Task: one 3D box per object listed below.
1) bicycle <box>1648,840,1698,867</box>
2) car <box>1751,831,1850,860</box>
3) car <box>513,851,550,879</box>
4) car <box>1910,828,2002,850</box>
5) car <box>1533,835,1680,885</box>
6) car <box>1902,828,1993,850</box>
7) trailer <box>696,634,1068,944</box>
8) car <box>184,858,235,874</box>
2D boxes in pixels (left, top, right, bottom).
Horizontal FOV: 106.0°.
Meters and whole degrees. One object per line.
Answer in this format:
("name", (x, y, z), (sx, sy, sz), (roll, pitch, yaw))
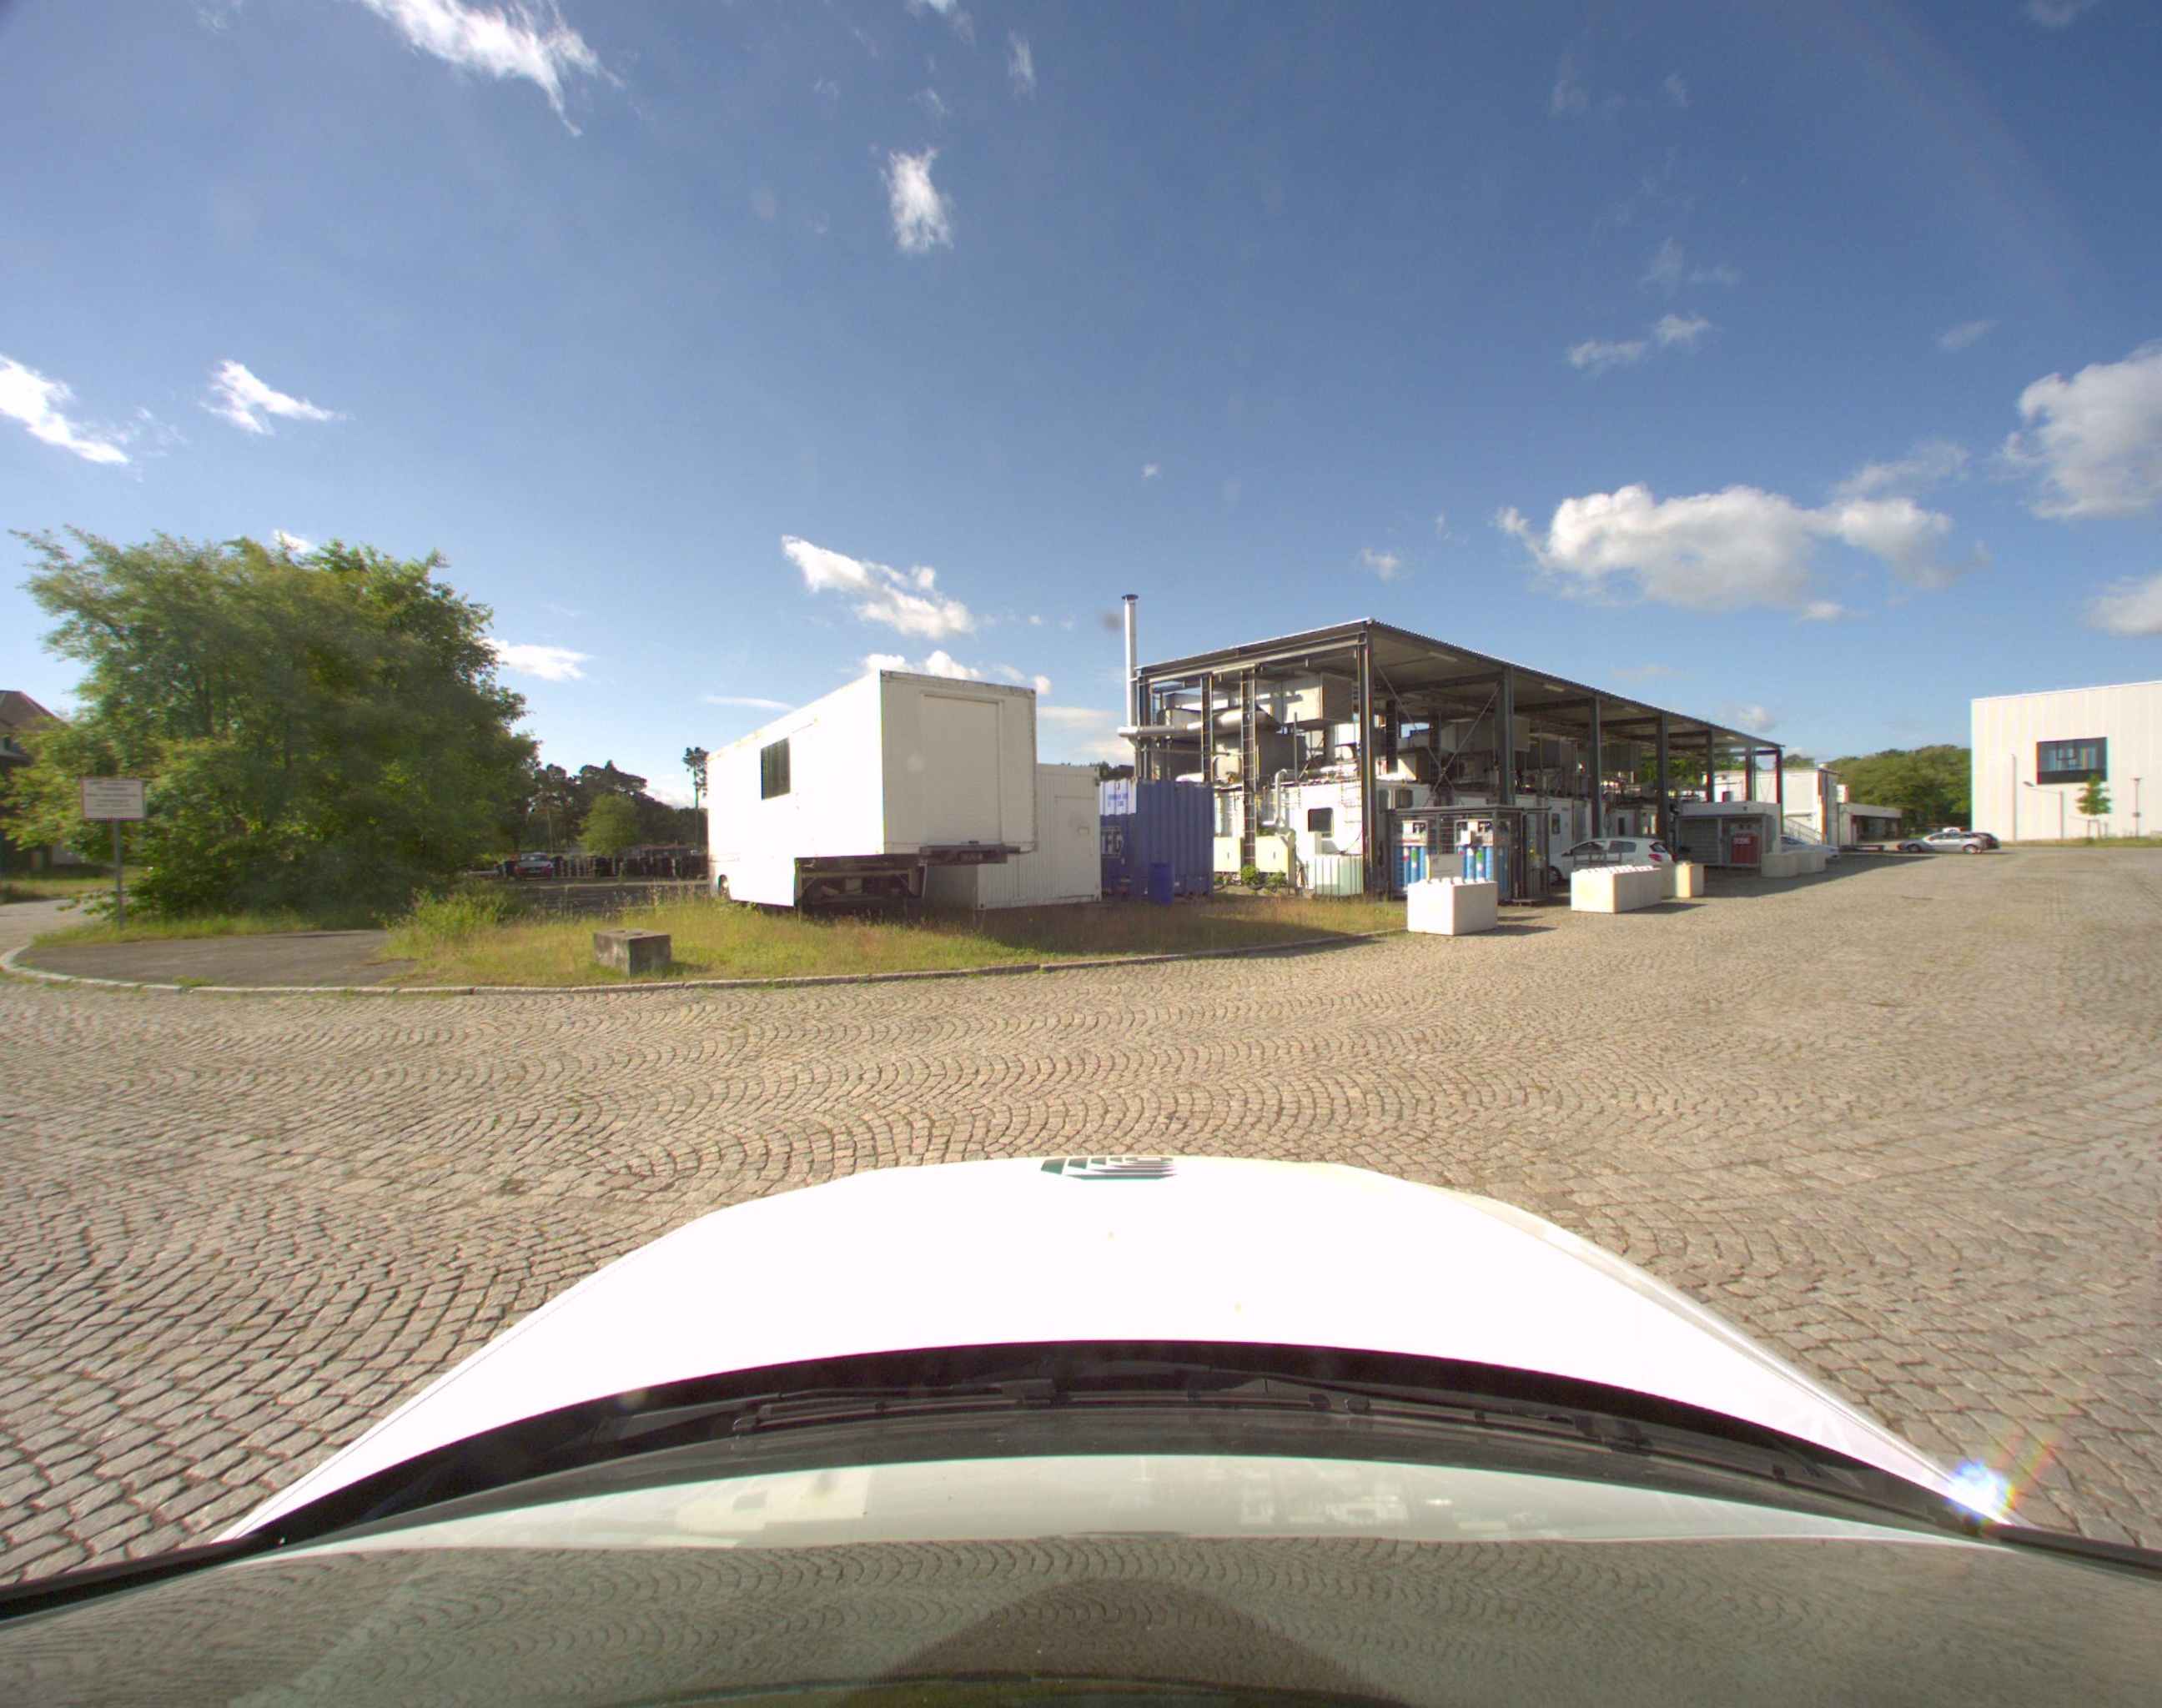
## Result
("bicycle", (25.129, -0.020, 34.574), (0.488, 1.136, 1.651), (-1, 0, -40))
("car", (37.210, -0.428, 42.181), (1.685, 1.408, 3.653), (-1, 1, -42))
("car", (-29.550, 0.575, 43.831), (1.552, 1.407, 3.540), (-1, 1, -33))
("car", (61.211, -1.007, 56.998), (1.750, 1.469, 4.307), (-1, 1, -40))
("car", (15.797, 0.157, 24.575), (1.620, 1.376, 3.431), (-1, 1, -42))
("car", (58.565, -0.998, 55.093), (1.750, 1.403, 4.139), (-1, 1, -40))
("trailer", (-4.558, -0.846, 15.431), (2.794, 3.910, 10.765), (-1, 1, -37))
("car", (-74.497, 1.039, 69.612), (1.271, 1.259, 2.930), (0, 1, 42))
